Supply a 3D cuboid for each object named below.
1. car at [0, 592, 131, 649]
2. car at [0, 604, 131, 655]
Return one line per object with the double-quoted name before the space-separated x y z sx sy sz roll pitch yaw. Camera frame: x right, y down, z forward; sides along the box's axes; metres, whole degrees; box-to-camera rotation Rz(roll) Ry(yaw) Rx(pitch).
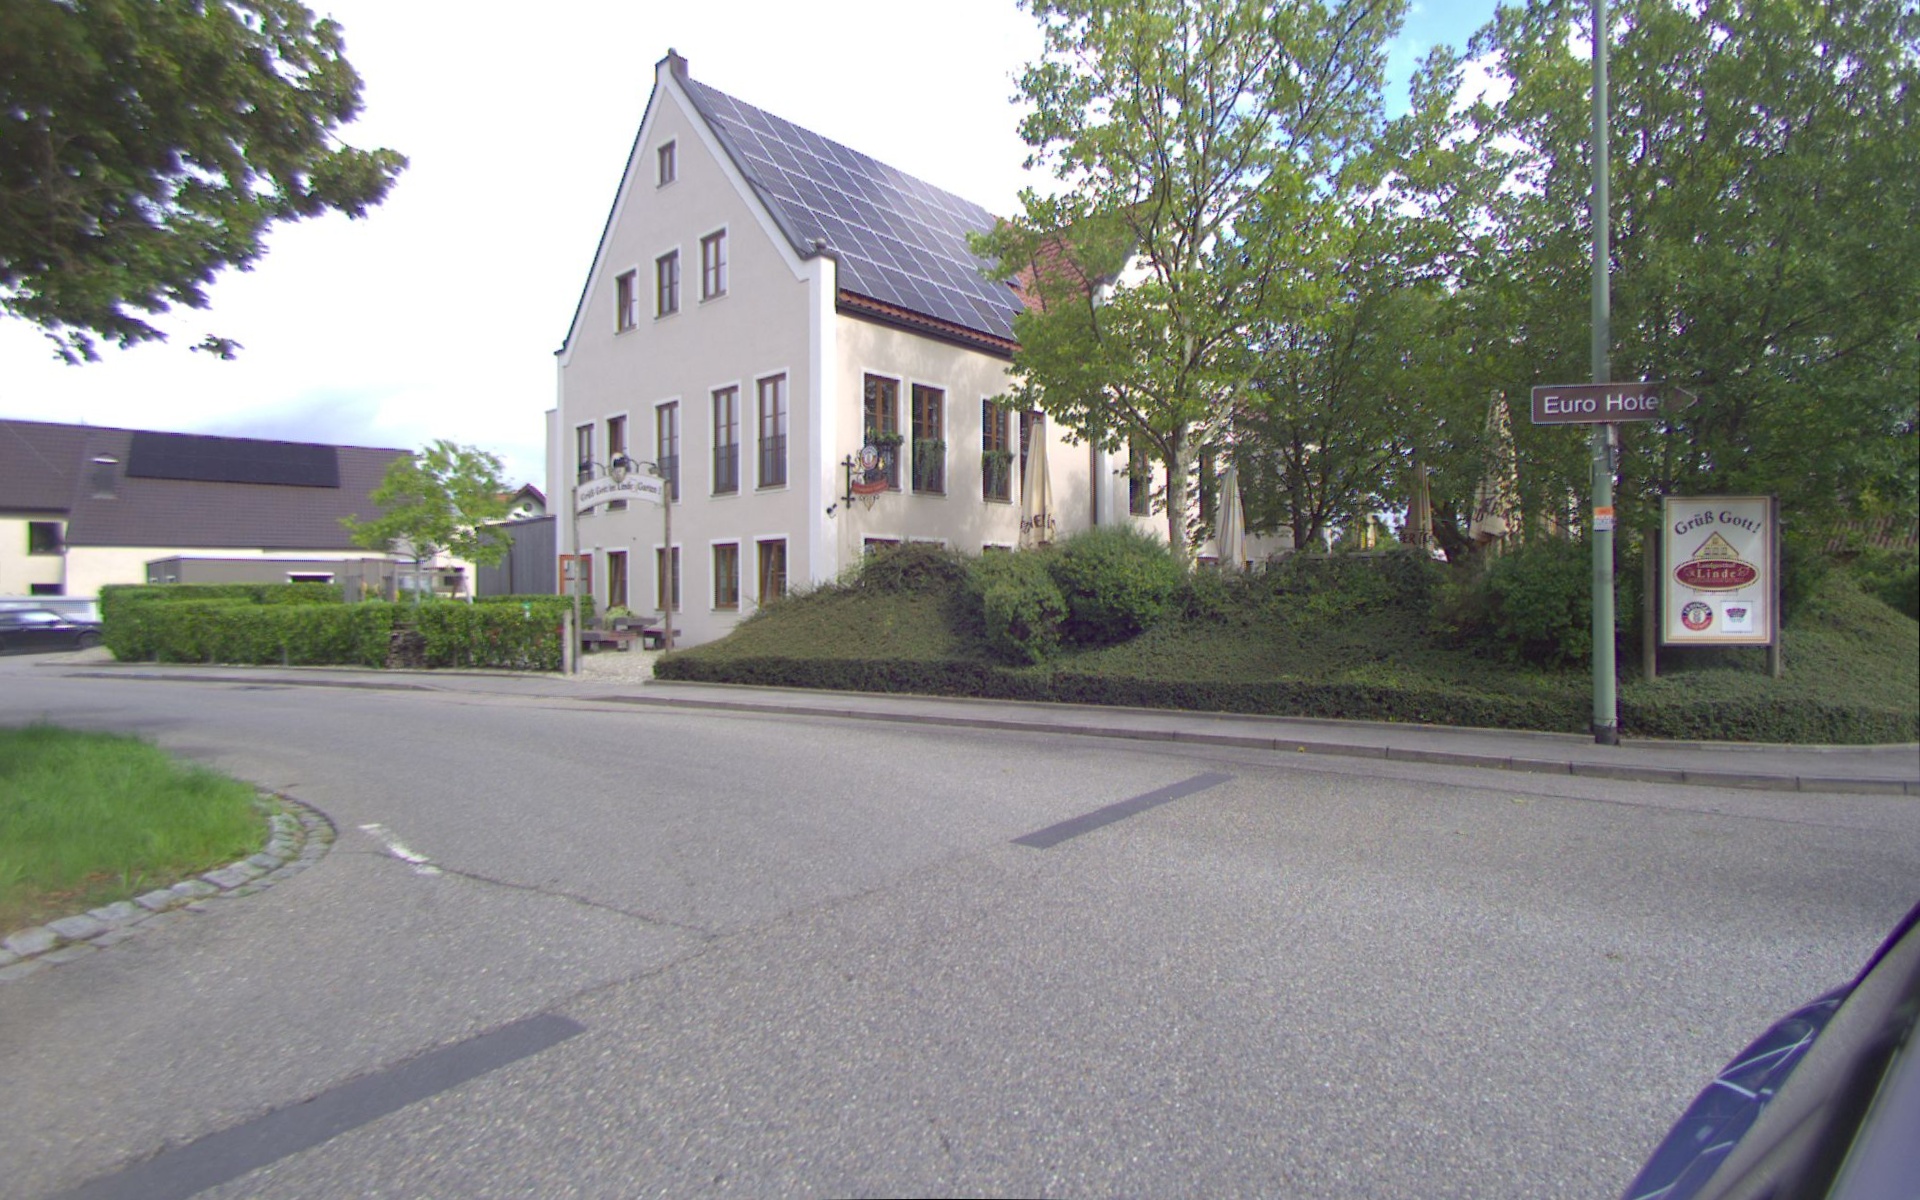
"car" -31.339 0.682 35.087 3.833 1.719 1.702 -3 3 -35
"car" -29.750 0.941 33.155 1.697 1.420 3.845 1 3 45
